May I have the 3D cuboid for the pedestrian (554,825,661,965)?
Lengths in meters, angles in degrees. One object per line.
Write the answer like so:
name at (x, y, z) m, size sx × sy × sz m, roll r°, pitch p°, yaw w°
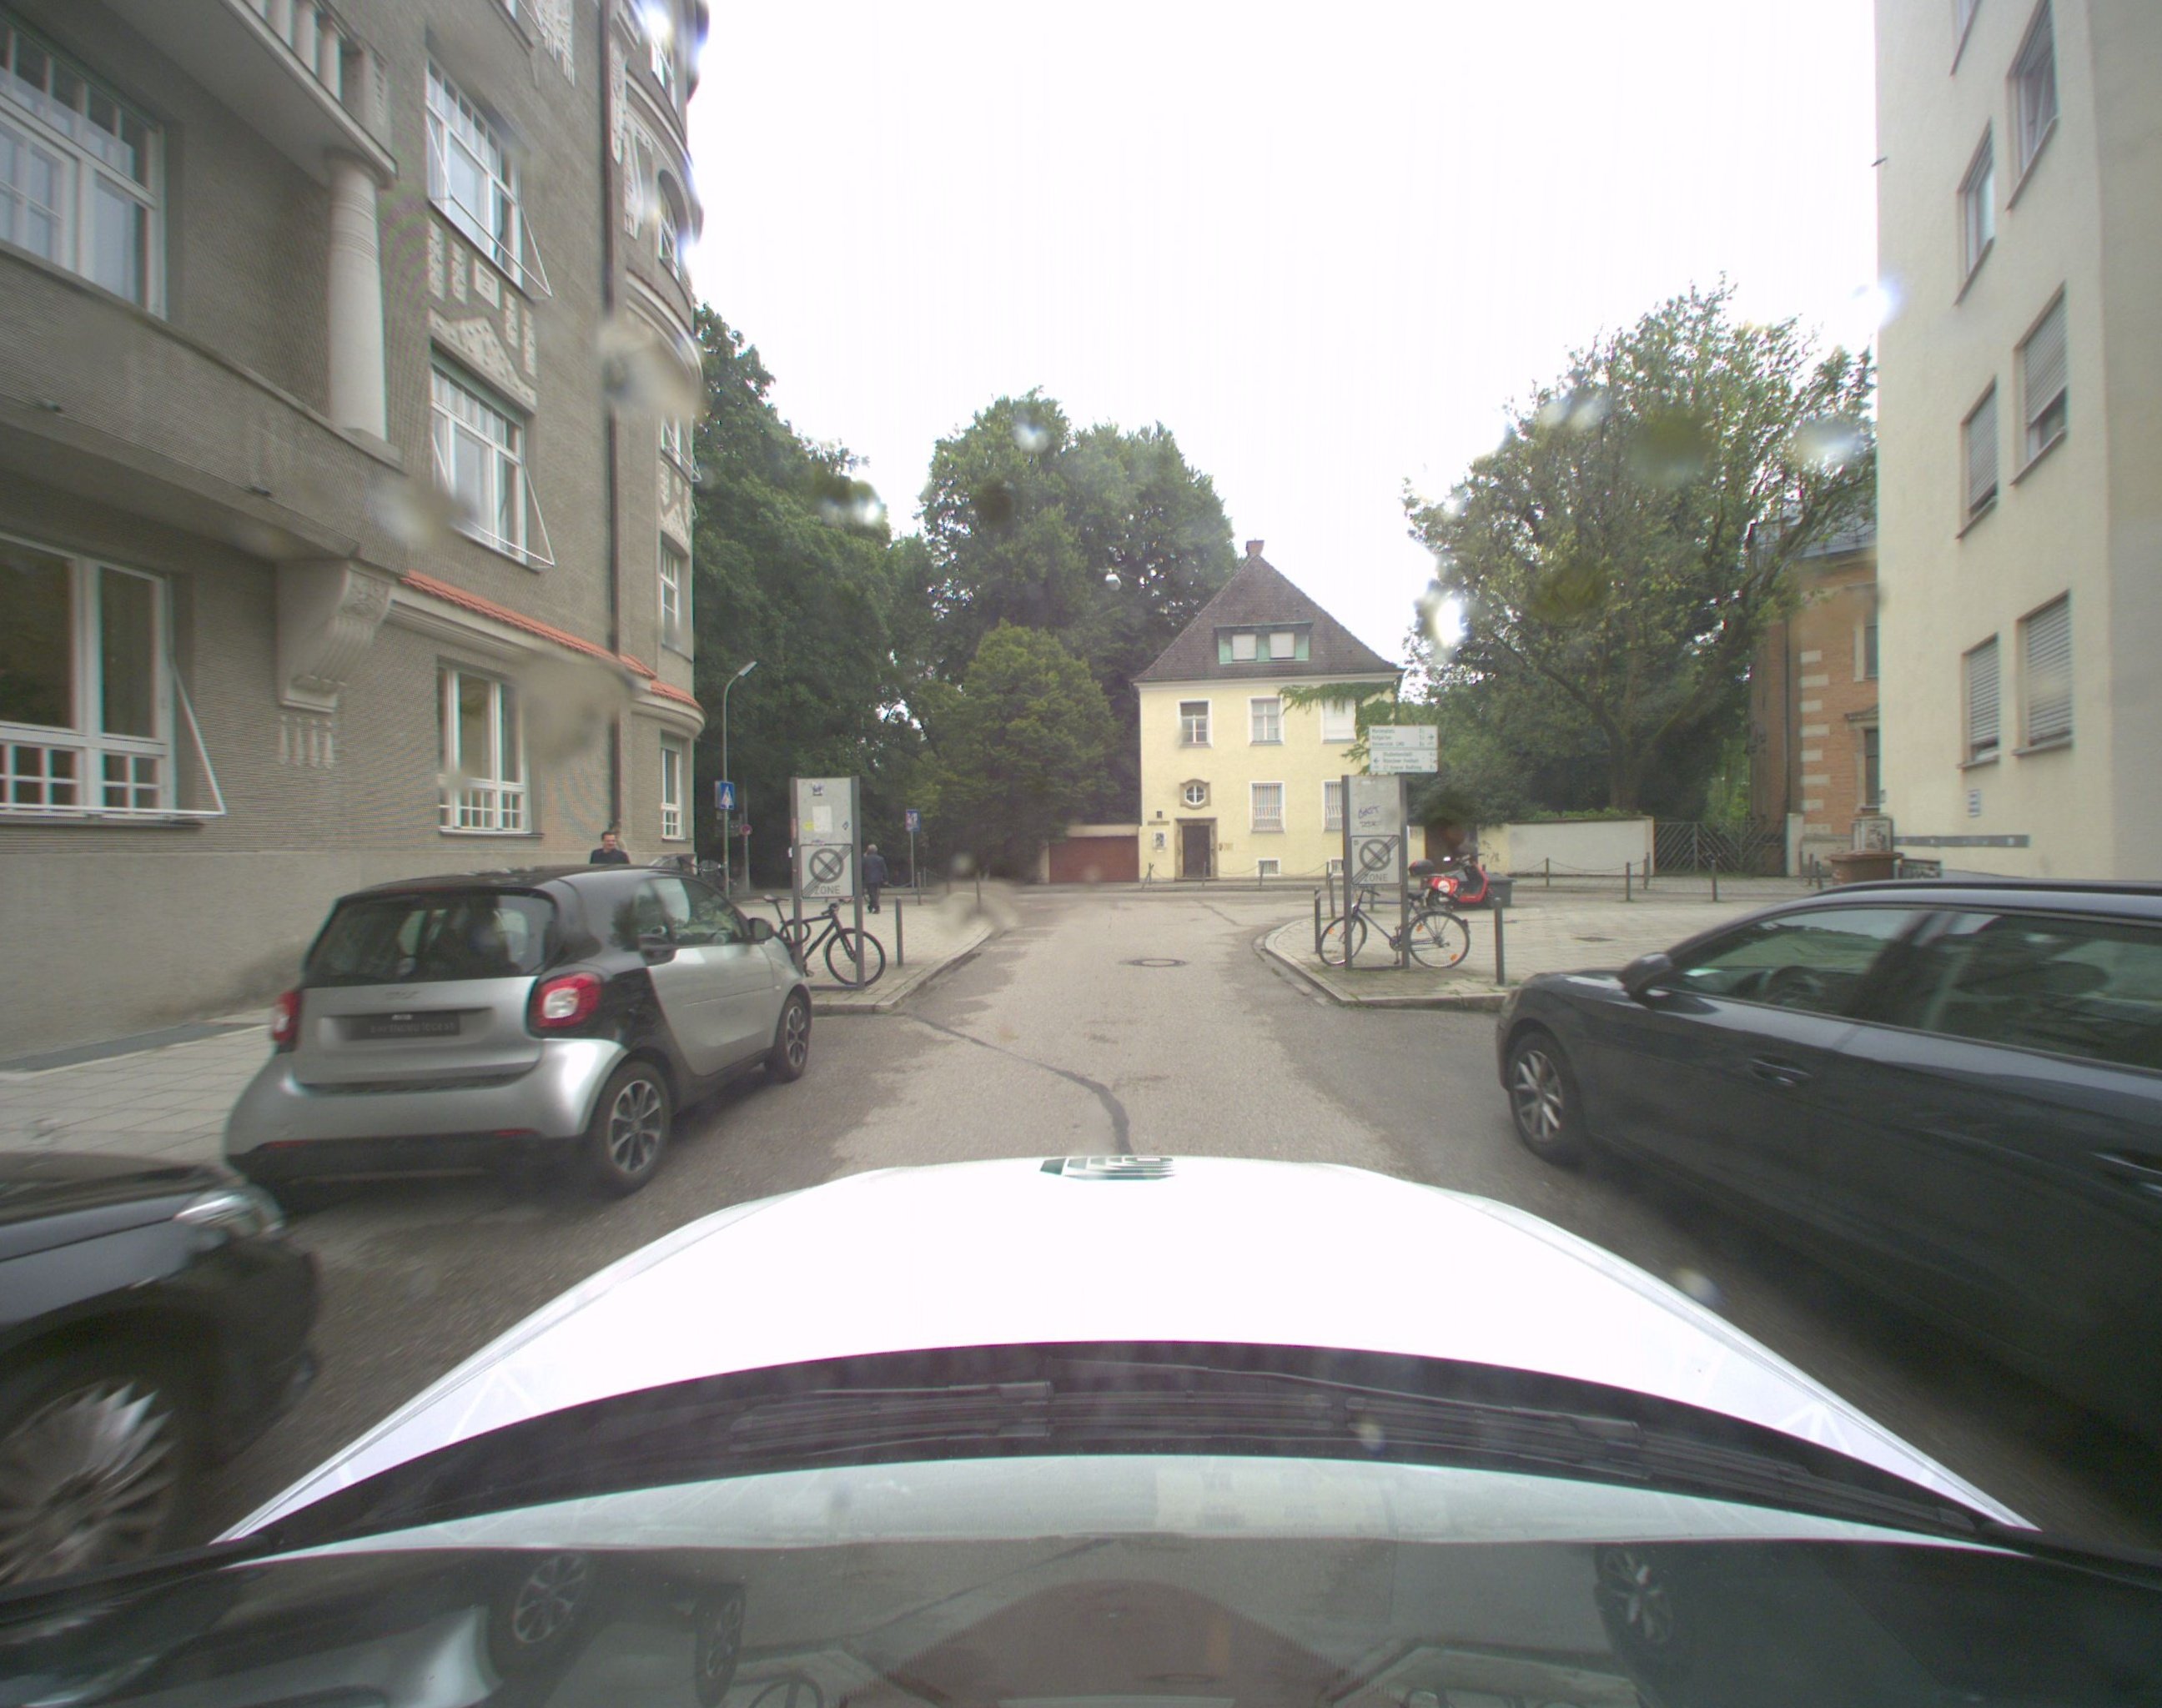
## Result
pedestrian at (-6.282, 0.523, 10.848) m, size 0.835 × 1.787 × 0.937 m, roll 0°, pitch 0°, yaw 4°

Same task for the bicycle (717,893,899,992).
bicycle at (-2.961, 0.954, 8.921) m, size 1.796 × 1.015 × 0.540 m, roll 0°, pitch 0°, yaw 0°

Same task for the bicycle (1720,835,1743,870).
bicycle at (23.173, -0.059, 29.027) m, size 0.529 × 1.219 × 2.096 m, roll -1°, pitch 0°, yaw 36°

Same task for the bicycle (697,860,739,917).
bicycle at (-8.504, 0.769, 19.045) m, size 0.740 × 1.256 × 1.908 m, roll 0°, pitch 0°, yaw -29°

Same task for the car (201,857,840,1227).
car at (-2.810, 0.806, 4.893) m, size 1.697 × 1.515 × 2.913 m, roll -1°, pitch 0°, yaw 3°

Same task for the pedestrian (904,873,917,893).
pedestrian at (-10.041, 1.687, 47.884) m, size 0.582 × 1.168 × 0.498 m, roll 0°, pitch 0°, yaw 7°

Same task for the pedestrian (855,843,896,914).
pedestrian at (-4.860, 0.566, 19.254) m, size 0.814 × 1.641 × 0.720 m, roll 0°, pitch 0°, yaw -25°

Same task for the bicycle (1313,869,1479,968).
bicycle at (3.814, 0.754, 9.902) m, size 1.774 × 1.085 × 0.670 m, roll -2°, pitch 1°, yaw 29°

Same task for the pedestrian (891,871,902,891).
pedestrian at (-10.873, 1.589, 48.039) m, size 0.468 × 1.156 × 0.498 m, roll 0°, pitch 0°, yaw 7°

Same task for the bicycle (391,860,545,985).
bicycle at (-7.298, 0.757, 9.801) m, size 0.617 × 1.349 × 1.674 m, roll 0°, pitch 0°, yaw -2°

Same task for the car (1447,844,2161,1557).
car at (3.076, 0.709, 2.674) m, size 1.687 × 1.471 × 4.610 m, roll 0°, pitch 0°, yaw 0°

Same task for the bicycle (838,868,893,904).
bicycle at (-6.459, 0.935, 24.344) m, size 1.982 × 1.010 × 0.515 m, roll 0°, pitch 0°, yaw 38°

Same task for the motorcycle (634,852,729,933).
motorcycle at (-7.599, 0.679, 15.604) m, size 0.733 × 1.441 × 2.147 m, roll 0°, pitch 0°, yaw 1°

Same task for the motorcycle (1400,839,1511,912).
motorcycle at (7.606, 0.416, 16.558) m, size 2.086 × 1.356 × 0.811 m, roll -2°, pitch 1°, yaw -22°
